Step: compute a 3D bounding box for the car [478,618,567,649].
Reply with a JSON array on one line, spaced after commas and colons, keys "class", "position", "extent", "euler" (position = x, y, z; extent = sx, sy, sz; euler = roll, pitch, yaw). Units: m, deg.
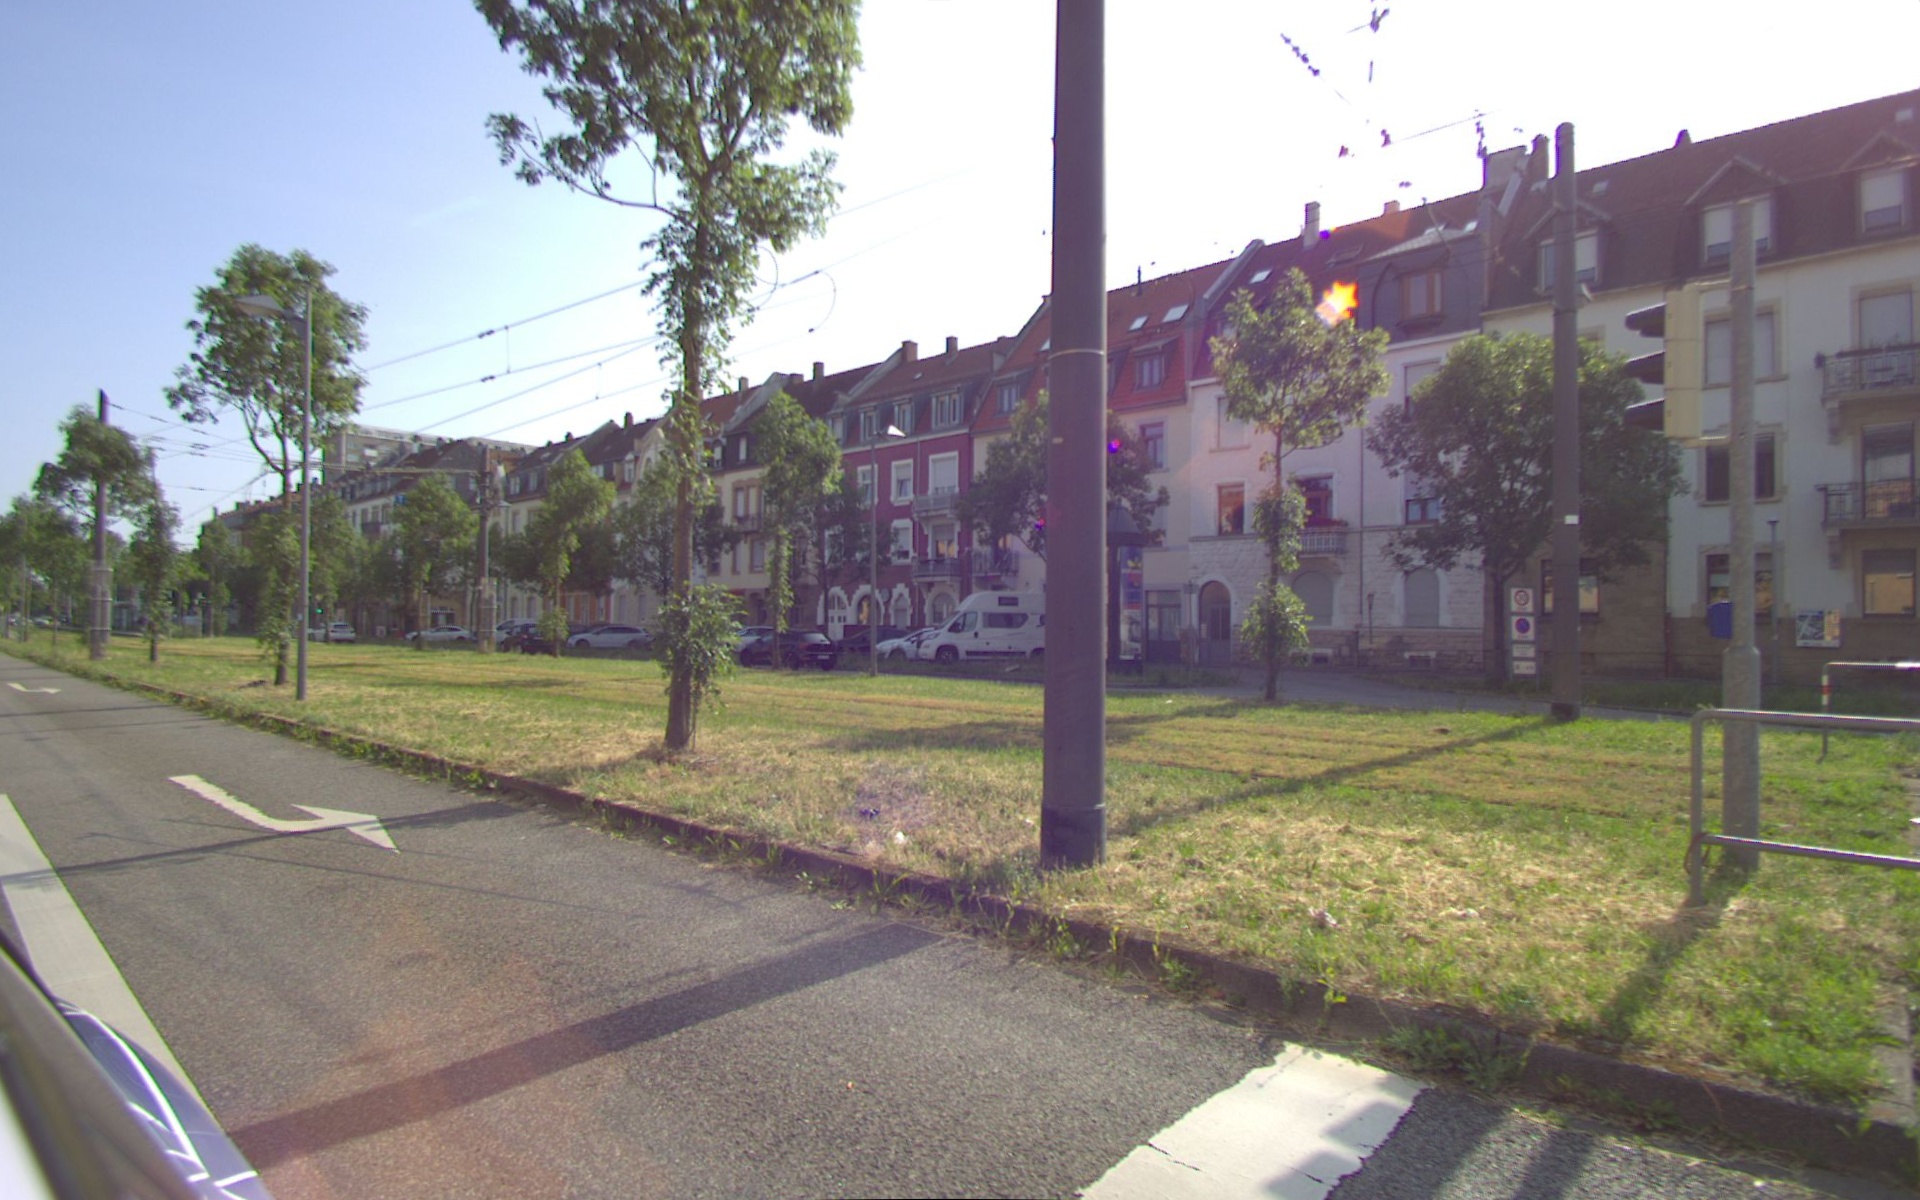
[{"class": "car", "position": [-27.538, 2.101, 63.860], "extent": [4.870, 1.739, 1.862], "euler": [-1, 0, -12]}]

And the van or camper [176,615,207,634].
[{"class": "van or camper", "position": [-89.862, 2.855, 118.276], "extent": [5.352, 2.113, 1.930], "euler": [0, 1, 43]}]

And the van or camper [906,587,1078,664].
[{"class": "van or camper", "position": [1.118, 0.859, 36.788], "extent": [5.828, 2.593, 2.205], "euler": [-1, 0, -12]}]

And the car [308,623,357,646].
[{"class": "car", "position": [-44.578, 2.447, 71.855], "extent": [1.925, 1.470, 4.651], "euler": [-1, 1, -45]}]

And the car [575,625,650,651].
[{"class": "car", "position": [-18.624, 2.007, 54.375], "extent": [3.626, 1.251, 1.666], "euler": [-1, 0, -12]}]

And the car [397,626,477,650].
[{"class": "car", "position": [-37.410, 2.697, 72.512], "extent": [4.697, 1.496, 2.029], "euler": [-1, 0, -15]}]

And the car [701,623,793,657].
[{"class": "car", "position": [-9.530, 1.780, 45.348], "extent": [3.948, 1.326, 1.666], "euler": [-1, 0, -12]}]

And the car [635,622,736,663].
[{"class": "car", "position": [-13.549, 2.061, 49.940], "extent": [4.568, 1.756, 1.840], "euler": [-1, 0, -22]}]

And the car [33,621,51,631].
[{"class": "car", "position": [-157.916, 4.425, 174.087], "extent": [5.282, 1.629, 2.102], "euler": [0, 1, 45]}]

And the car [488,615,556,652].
[{"class": "car", "position": [-21.628, 1.635, 49.941], "extent": [1.744, 1.668, 4.003], "euler": [-1, 1, -44]}]

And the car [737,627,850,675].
[{"class": "car", "position": [-5.776, 1.724, 34.872], "extent": [3.925, 1.444, 1.793], "euler": [0, 1, 43]}]

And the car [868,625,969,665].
[{"class": "car", "position": [-1.638, 1.711, 39.050], "extent": [3.626, 1.341, 1.666], "euler": [-1, 0, -12]}]

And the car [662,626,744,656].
[{"class": "car", "position": [-11.953, 1.885, 47.218], "extent": [3.626, 1.251, 1.666], "euler": [-1, 0, -12]}]

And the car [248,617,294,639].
[{"class": "car", "position": [-56.399, 2.295, 82.772], "extent": [5.380, 1.642, 1.972], "euler": [0, 1, 43]}]
